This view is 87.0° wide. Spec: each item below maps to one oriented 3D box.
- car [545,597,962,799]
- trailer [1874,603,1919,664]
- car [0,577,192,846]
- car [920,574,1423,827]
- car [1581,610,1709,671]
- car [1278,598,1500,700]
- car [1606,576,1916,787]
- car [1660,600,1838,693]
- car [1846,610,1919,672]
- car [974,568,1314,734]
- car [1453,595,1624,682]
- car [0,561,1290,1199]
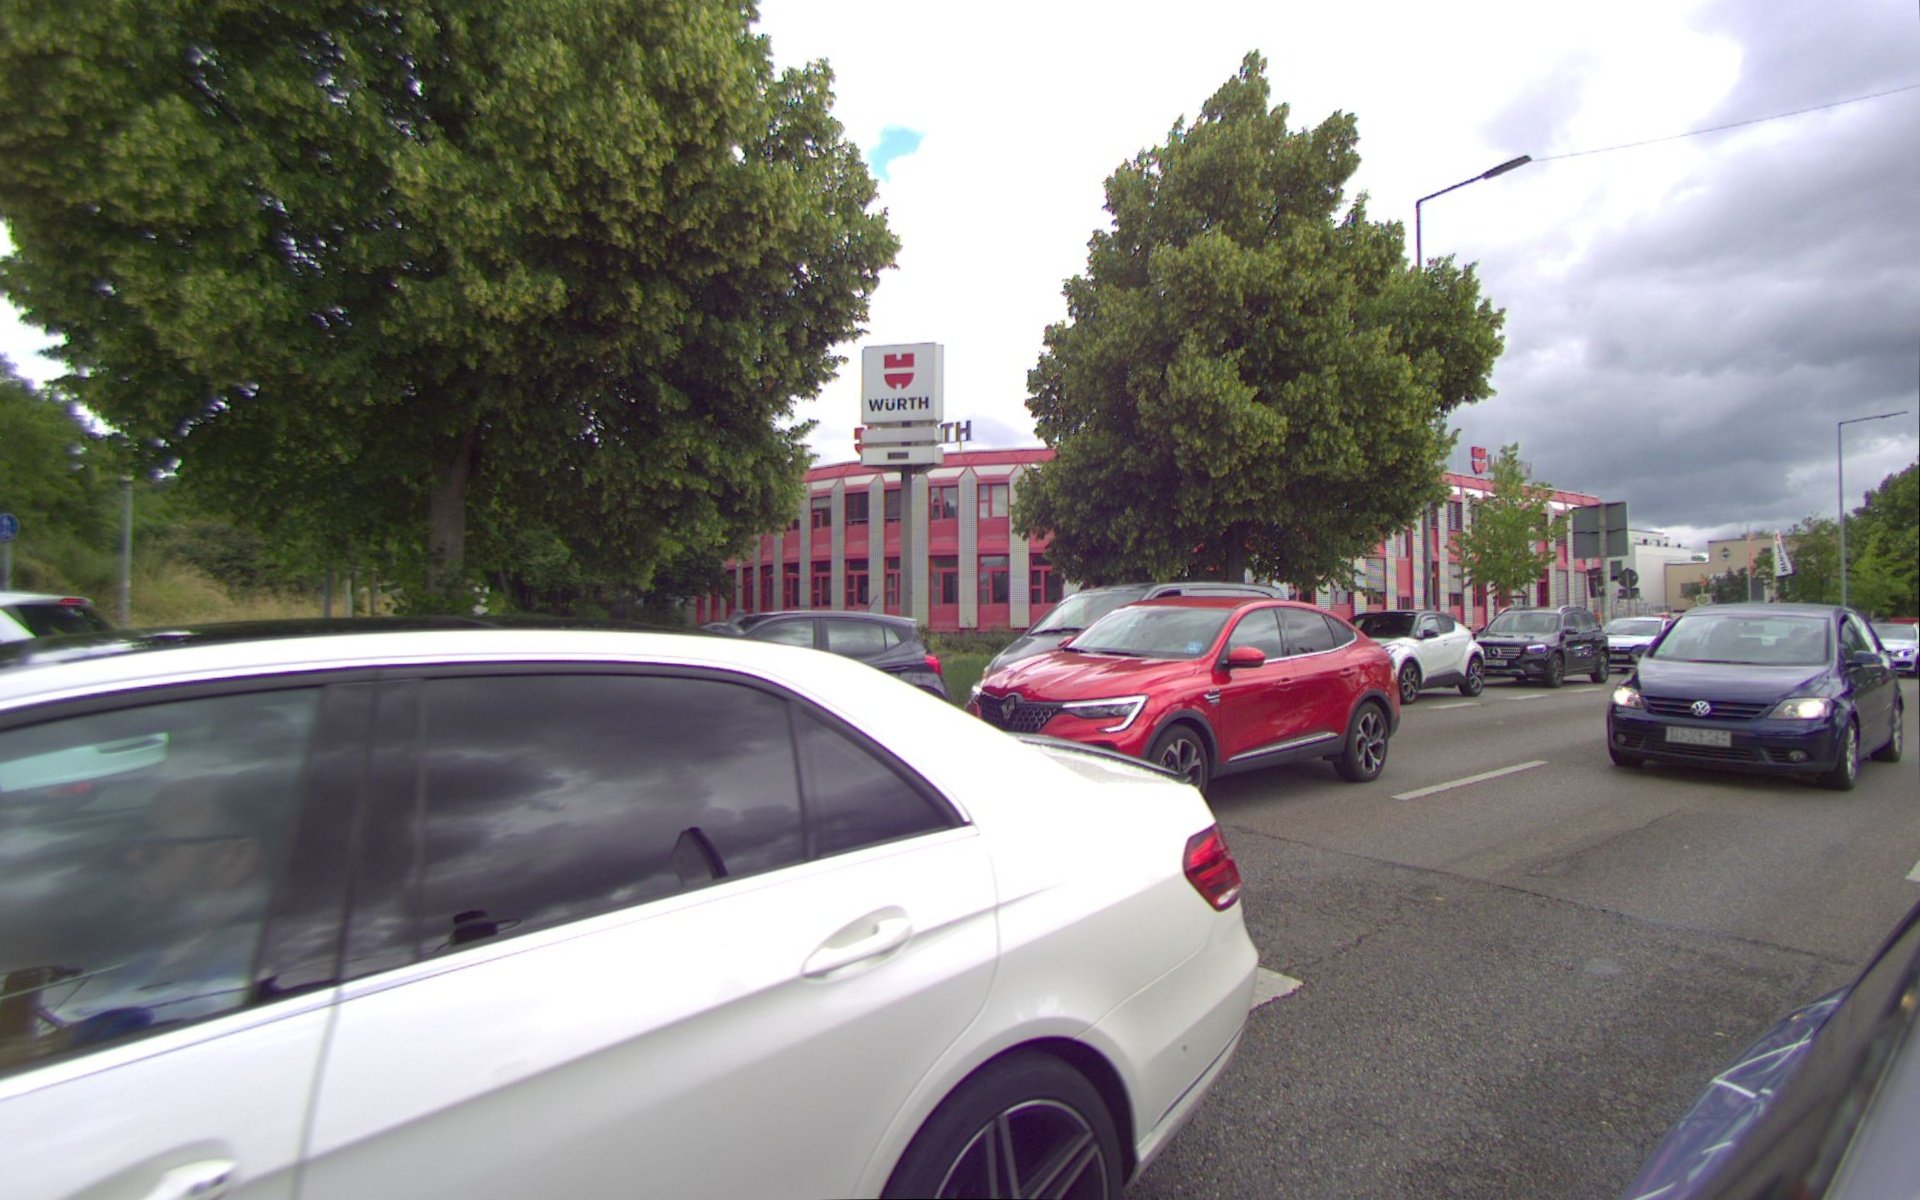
[{"bbox_3d":[-1.874,0.751,9.493,3.495,1.525,1.608,-1,0,-34],"label":"car"},{"bbox_3d":[28.887,0.973,30.269,3.926,1.680,1.774,-1,0,-40],"label":"trailer"},{"bbox_3d":[-7.907,0.706,6.585,4.278,1.676,1.767,0,-1,-20],"label":"car"},{"bbox_3d":[1.921,0.646,8.328,4.299,1.549,1.850,1,-1,-41],"label":"car"},{"bbox_3d":[18.017,1.001,26.553,4.293,1.458,1.761,0,-1,-41],"label":"car"},{"bbox_3d":[7.402,0.793,17.313,4.034,1.536,1.842,0,-4,-41],"label":"car"},{"bbox_3d":[7.788,0.601,9.712,3.927,1.618,1.667,-1,0,-41],"label":"car"},{"bbox_3d":[15.261,0.803,19.508,4.142,1.549,1.798,-1,0,-38],"label":"car"},{"bbox_3d":[25.754,1.063,27.584,4.323,1.469,1.774,-1,1,-40],"label":"car"},{"bbox_3d":[2.517,0.647,13.167,4.591,1.798,1.761,1,-5,-40],"label":"car"},{"bbox_3d":[12.387,0.797,21.572,4.133,1.679,1.863,1,-3,-41],"label":"car"},{"bbox_3d":[-1.432,0.673,1.719,4.240,1.429,1.803,-1,1,-39],"label":"car"}]
